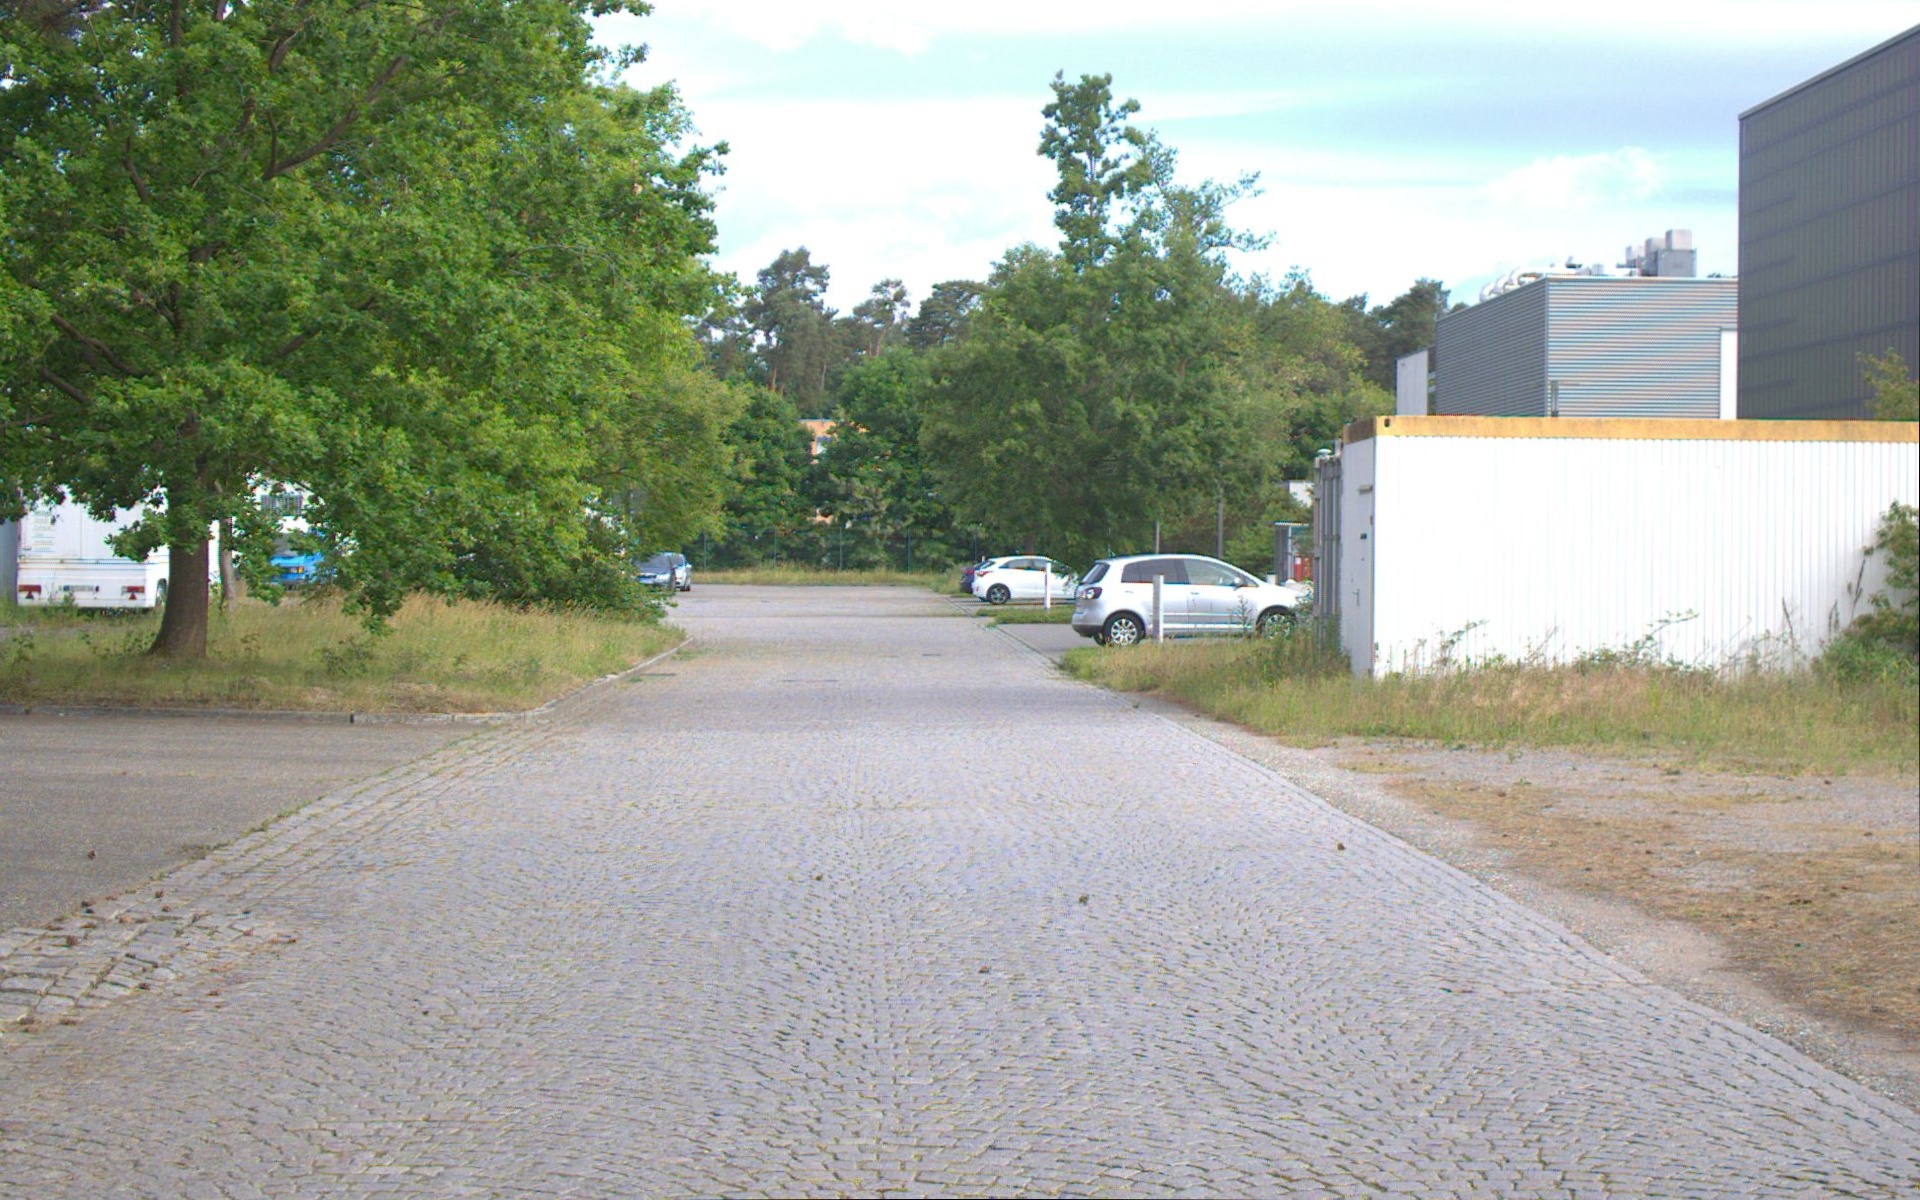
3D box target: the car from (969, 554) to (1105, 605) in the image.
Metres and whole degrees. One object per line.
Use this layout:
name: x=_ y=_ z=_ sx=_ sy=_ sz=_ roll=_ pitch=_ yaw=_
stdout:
car: x=2.311 y=-0.620 z=103.917 sx=4.025 sy=1.496 sz=1.548 roll=1 pitch=1 yaw=-1

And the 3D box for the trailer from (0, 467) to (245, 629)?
trailer: x=-17.029 y=-1.051 z=69.876 sx=3.158 sy=3.057 sz=8.784 roll=1 pitch=1 yaw=0

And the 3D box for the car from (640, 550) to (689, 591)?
car: x=-11.331 y=-1.149 z=131.961 sx=1.803 sy=1.529 sz=4.001 roll=1 pitch=1 yaw=-4

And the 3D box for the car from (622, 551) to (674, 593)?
car: x=-11.111 y=-1.014 z=122.606 sx=1.734 sy=1.464 sz=4.046 roll=1 pitch=1 yaw=-4

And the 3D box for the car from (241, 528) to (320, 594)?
car: x=-21.771 y=-1.251 z=110.285 sx=1.925 sy=2.040 sz=4.601 roll=1 pitch=1 yaw=-4

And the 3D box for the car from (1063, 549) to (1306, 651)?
car: x=3.744 y=-0.012 z=57.786 sx=3.849 sy=1.649 sz=1.686 roll=1 pitch=1 yaw=-4

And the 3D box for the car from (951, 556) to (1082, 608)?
car: x=1.788 y=-0.577 z=109.460 sx=3.986 sy=1.596 sz=1.729 roll=1 pitch=1 yaw=-4
